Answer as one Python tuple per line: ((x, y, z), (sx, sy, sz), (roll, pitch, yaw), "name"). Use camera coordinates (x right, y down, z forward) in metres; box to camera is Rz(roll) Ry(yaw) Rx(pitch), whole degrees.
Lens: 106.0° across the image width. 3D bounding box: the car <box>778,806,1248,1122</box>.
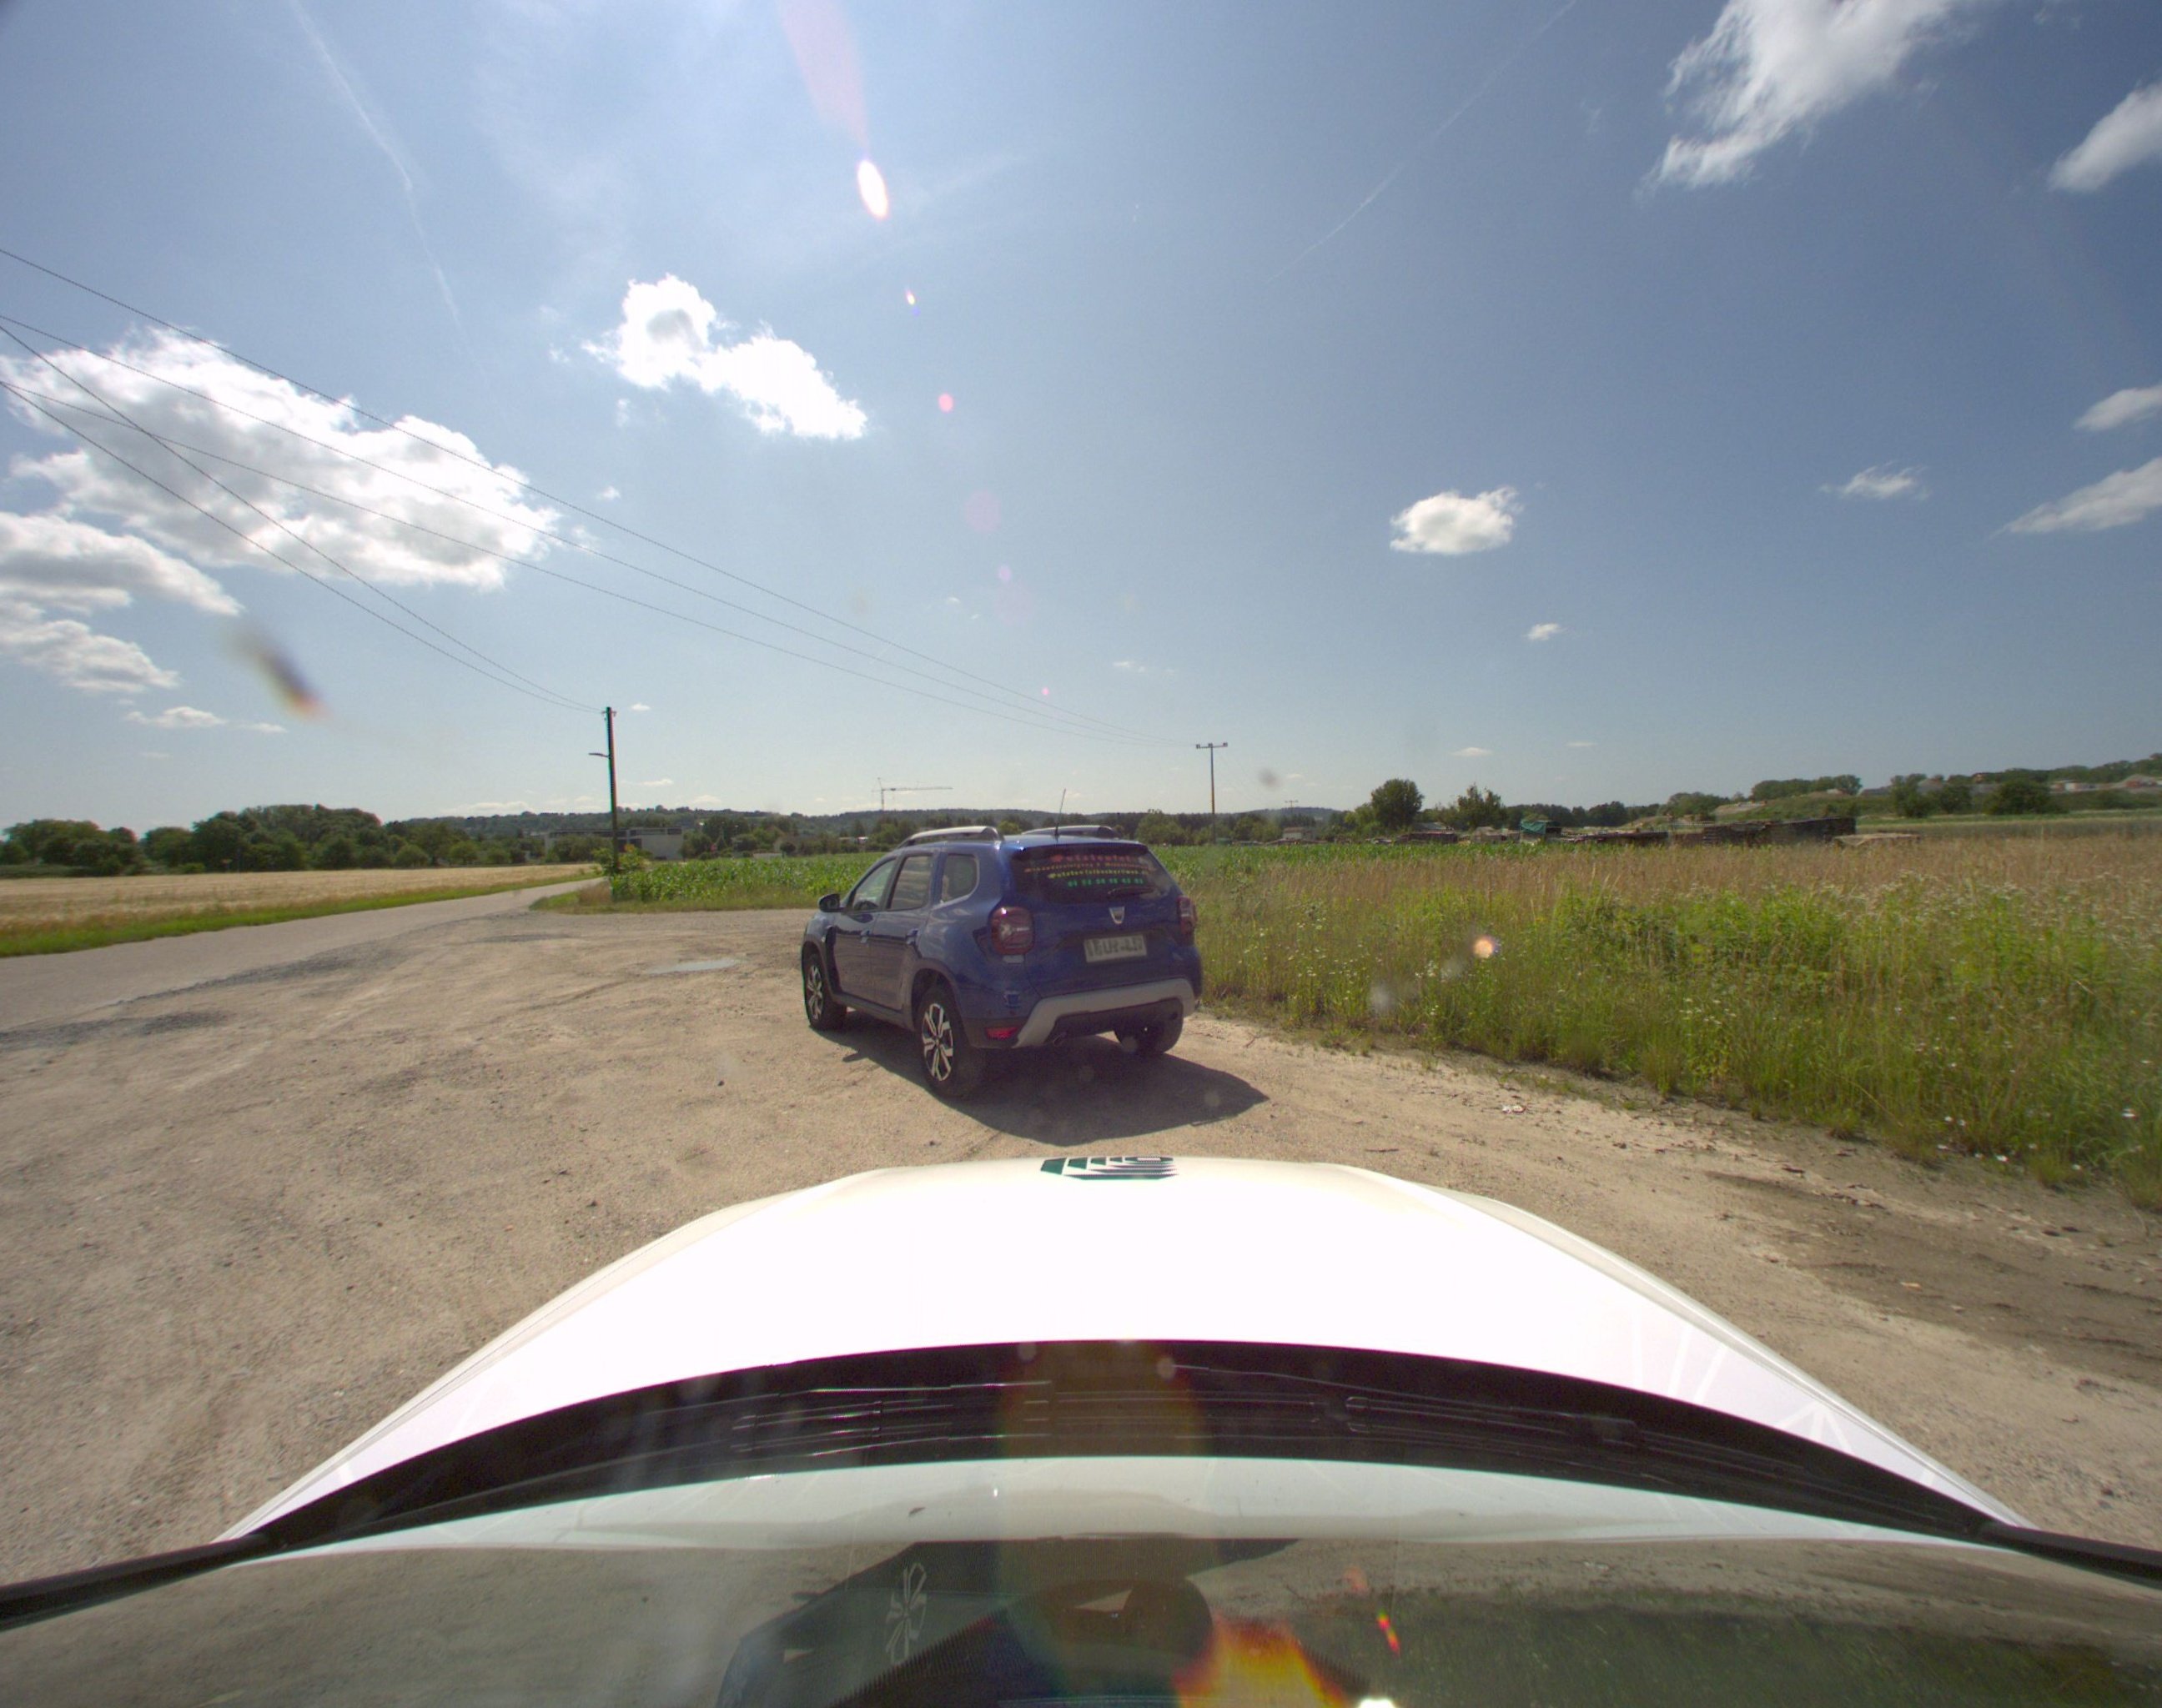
((-0.932, 0.608, 6.648), (1.872, 1.661, 4.411), (-1, -1, -34), "car")
